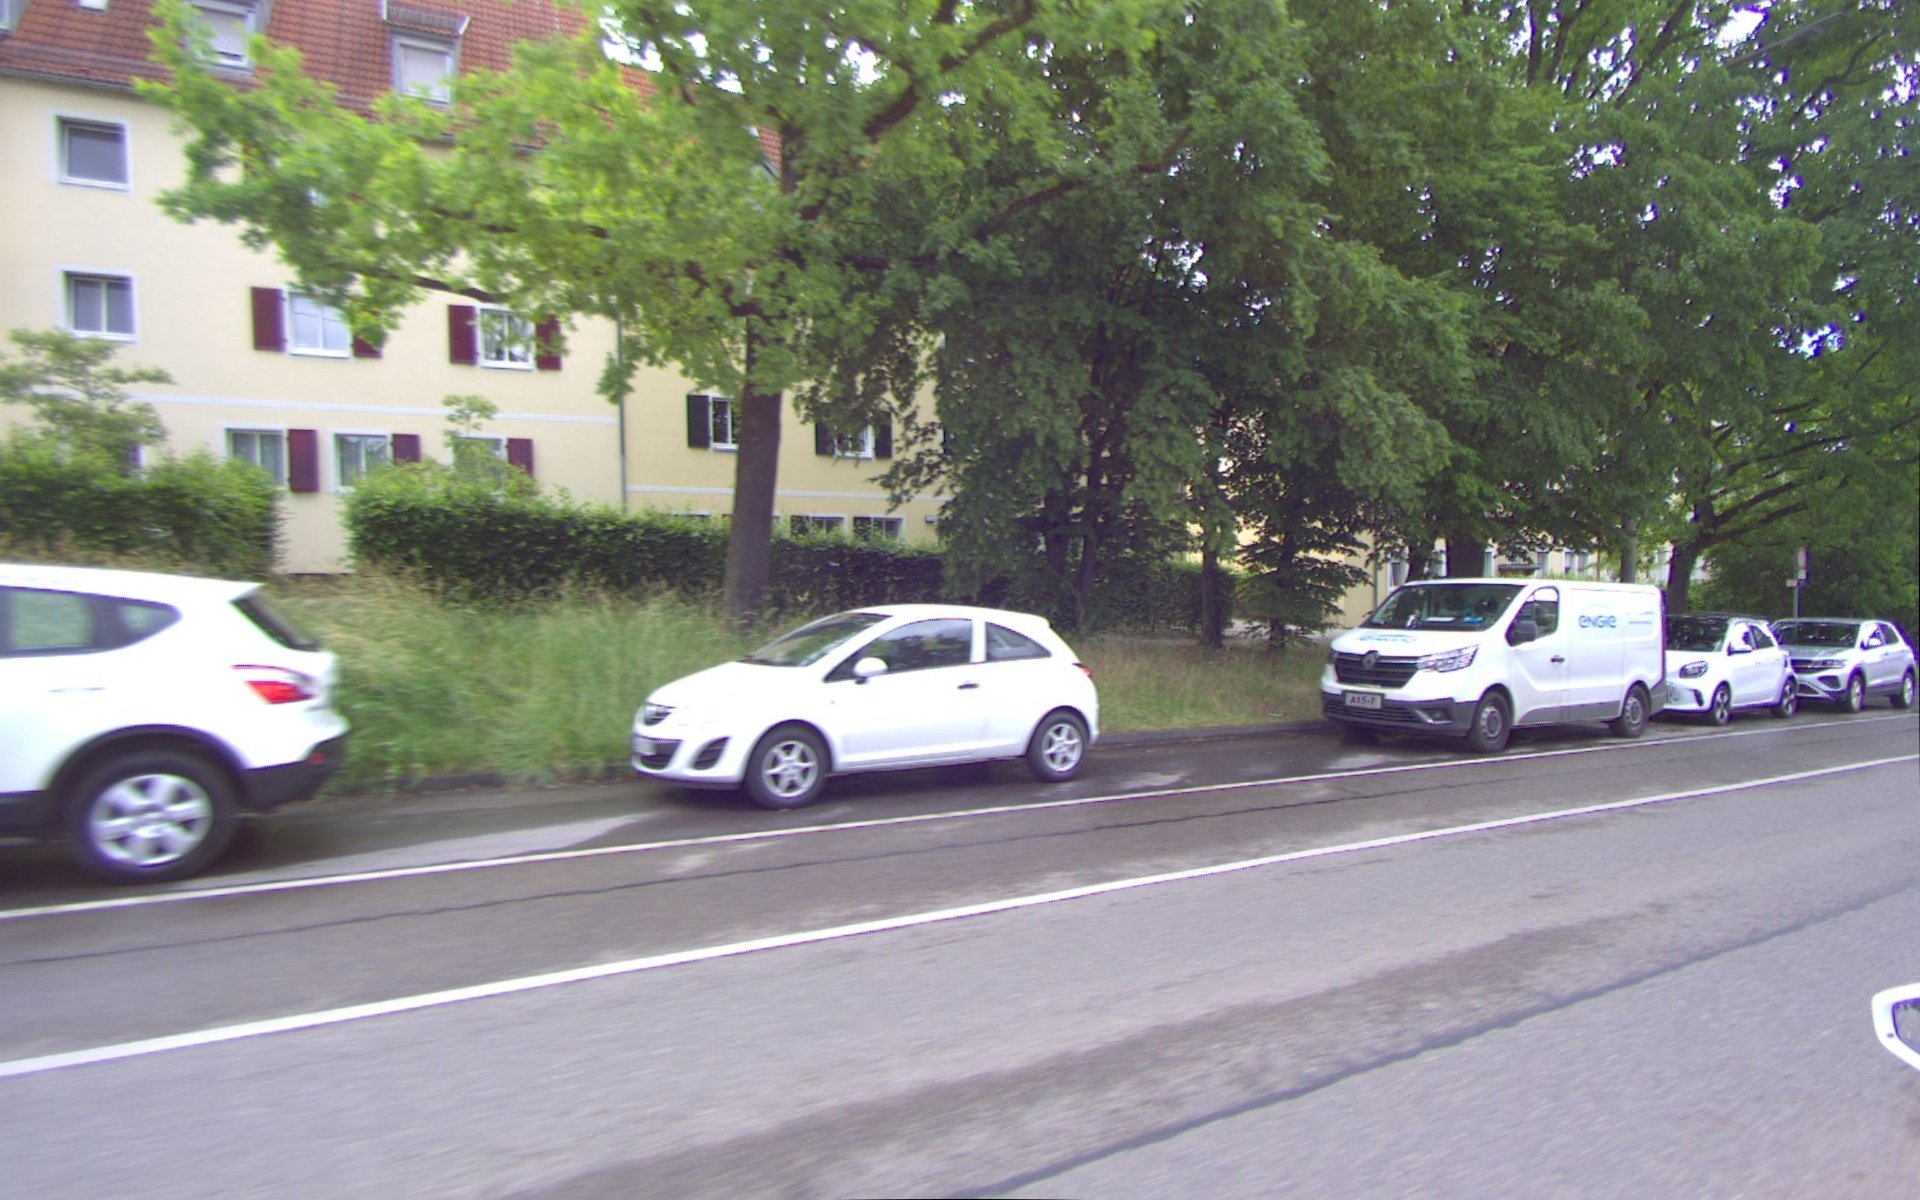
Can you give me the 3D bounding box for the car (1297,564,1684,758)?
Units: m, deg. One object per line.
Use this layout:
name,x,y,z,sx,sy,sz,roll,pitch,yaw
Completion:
car,6.643,0.653,12.402,5.068,1.990,1.857,1,0,-31

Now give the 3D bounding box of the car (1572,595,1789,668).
car,19.600,0.796,27.558,1.863,1.474,4.413,1,5,-28

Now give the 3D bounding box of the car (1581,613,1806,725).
car,11.336,0.992,15.481,3.679,1.501,1.572,1,0,-33

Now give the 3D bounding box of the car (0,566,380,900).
car,-5.457,0.615,5.191,4.232,1.585,1.665,1,0,-31

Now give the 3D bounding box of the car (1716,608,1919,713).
car,15.452,1.008,17.866,4.109,1.655,1.758,1,0,-31

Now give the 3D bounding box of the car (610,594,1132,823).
car,-0.651,0.757,8.423,4.045,1.498,1.653,1,0,-32
